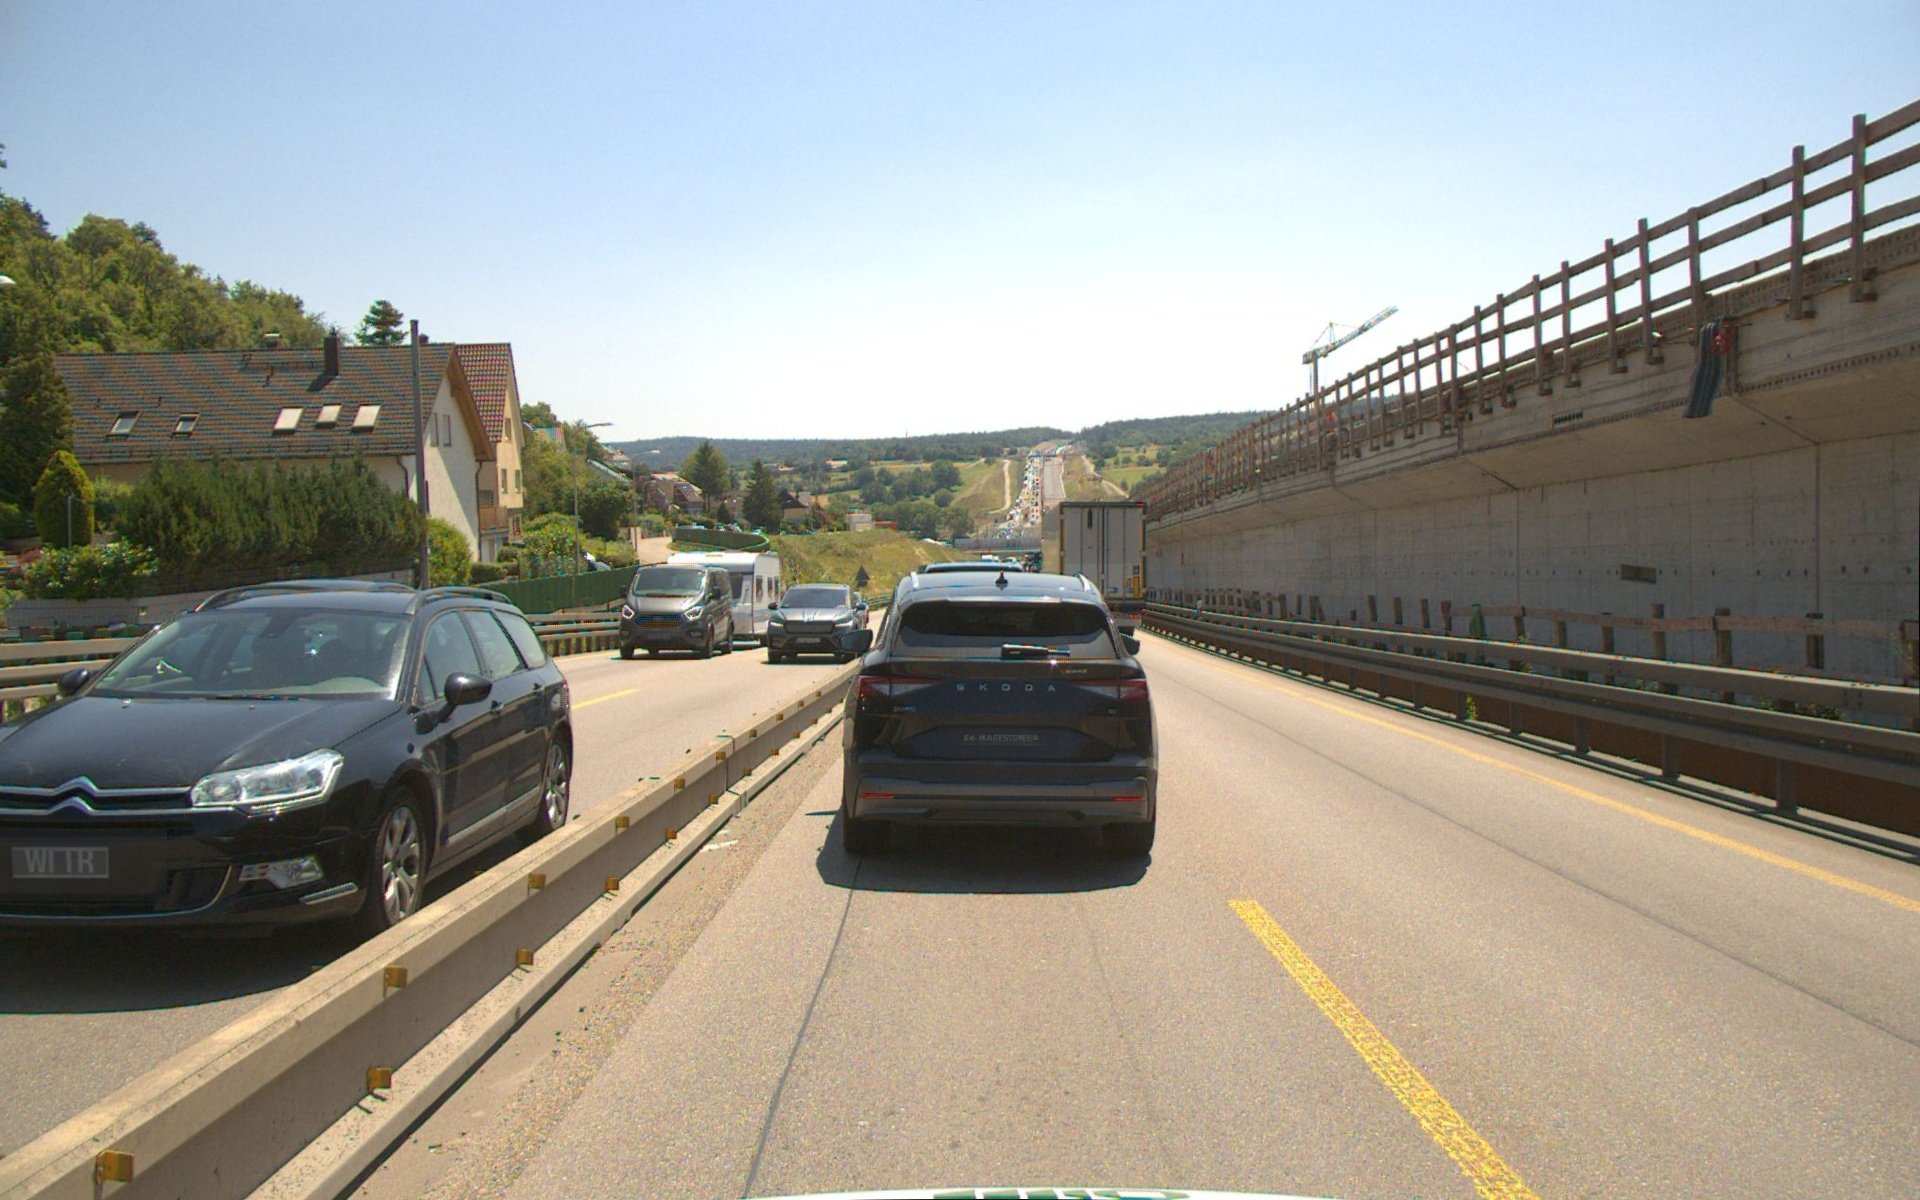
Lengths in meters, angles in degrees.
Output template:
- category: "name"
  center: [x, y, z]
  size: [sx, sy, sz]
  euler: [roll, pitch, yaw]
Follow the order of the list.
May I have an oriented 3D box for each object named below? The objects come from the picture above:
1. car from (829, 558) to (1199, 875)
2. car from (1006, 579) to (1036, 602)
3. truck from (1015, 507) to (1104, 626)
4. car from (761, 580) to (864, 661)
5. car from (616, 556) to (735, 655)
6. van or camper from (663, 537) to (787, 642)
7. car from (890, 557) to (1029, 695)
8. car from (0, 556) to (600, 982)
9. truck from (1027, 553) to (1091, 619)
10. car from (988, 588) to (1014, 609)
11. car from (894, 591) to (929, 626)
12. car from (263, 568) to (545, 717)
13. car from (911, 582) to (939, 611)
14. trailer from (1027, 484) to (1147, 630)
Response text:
- category: "car"
  center: [0.139, 0.631, 10.476]
  size: [1.807, 1.614, 3.902]
  euler: [1, -1, -6]
- category: "car"
  center: [4.543, -0.669, 123.373]
  size: [1.953, 1.613, 3.835]
  euler: [1, -1, -2]
- category: "truck"
  center: [3.594, -1.102, 61.368]
  size: [2.463, 4.096, 8.233]
  euler: [1, -1, -2]
- category: "car"
  center: [-3.099, 0.452, 35.559]
  size: [1.834, 1.614, 4.478]
  euler: [1, -1, -1]
- category: "car"
  center: [-6.198, 0.143, 36.462]
  size: [1.953, 2.049, 3.999]
  euler: [1, -1, -1]
- category: "van or camper"
  center: [-6.139, -0.206, 44.060]
  size: [2.306, 2.560, 6.327]
  euler: [1, -1, 1]
- category: "car"
  center: [-0.083, 0.345, 25.225]
  size: [1.674, 1.914, 3.995]
  euler: [1, 1, -6]
- category: "car"
  center: [-3.244, 0.642, 8.299]
  size: [1.953, 1.530, 4.647]
  euler: [1, -1, -2]
- category: "truck"
  center: [5.152, -0.630, 88.371]
  size: [3.128, 3.247, 12.811]
  euler: [0, -1, 2]
- category: "car"
  center: [3.412, -0.117, 138.356]
  size: [1.953, 1.613, 3.835]
  euler: [1, -1, -2]
- category: "car"
  center: [-2.251, 0.392, 76.893]
  size: [1.515, 1.576, 3.237]
  euler: [1, -1, 0]
- category: "car"
  center: [-6.161, 0.462, 18.859]
  size: [1.805, 1.485, 4.177]
  euler: [1, -1, -1]
- category: "car"
  center: [-1.946, -0.196, 93.212]
  size: [1.515, 1.576, 3.237]
  euler: [1, -1, 0]
- category: "trailer"
  center: [3.919, -1.154, 53.742]
  size: [2.481, 4.199, 11.541]
  euler: [1, -1, -2]
